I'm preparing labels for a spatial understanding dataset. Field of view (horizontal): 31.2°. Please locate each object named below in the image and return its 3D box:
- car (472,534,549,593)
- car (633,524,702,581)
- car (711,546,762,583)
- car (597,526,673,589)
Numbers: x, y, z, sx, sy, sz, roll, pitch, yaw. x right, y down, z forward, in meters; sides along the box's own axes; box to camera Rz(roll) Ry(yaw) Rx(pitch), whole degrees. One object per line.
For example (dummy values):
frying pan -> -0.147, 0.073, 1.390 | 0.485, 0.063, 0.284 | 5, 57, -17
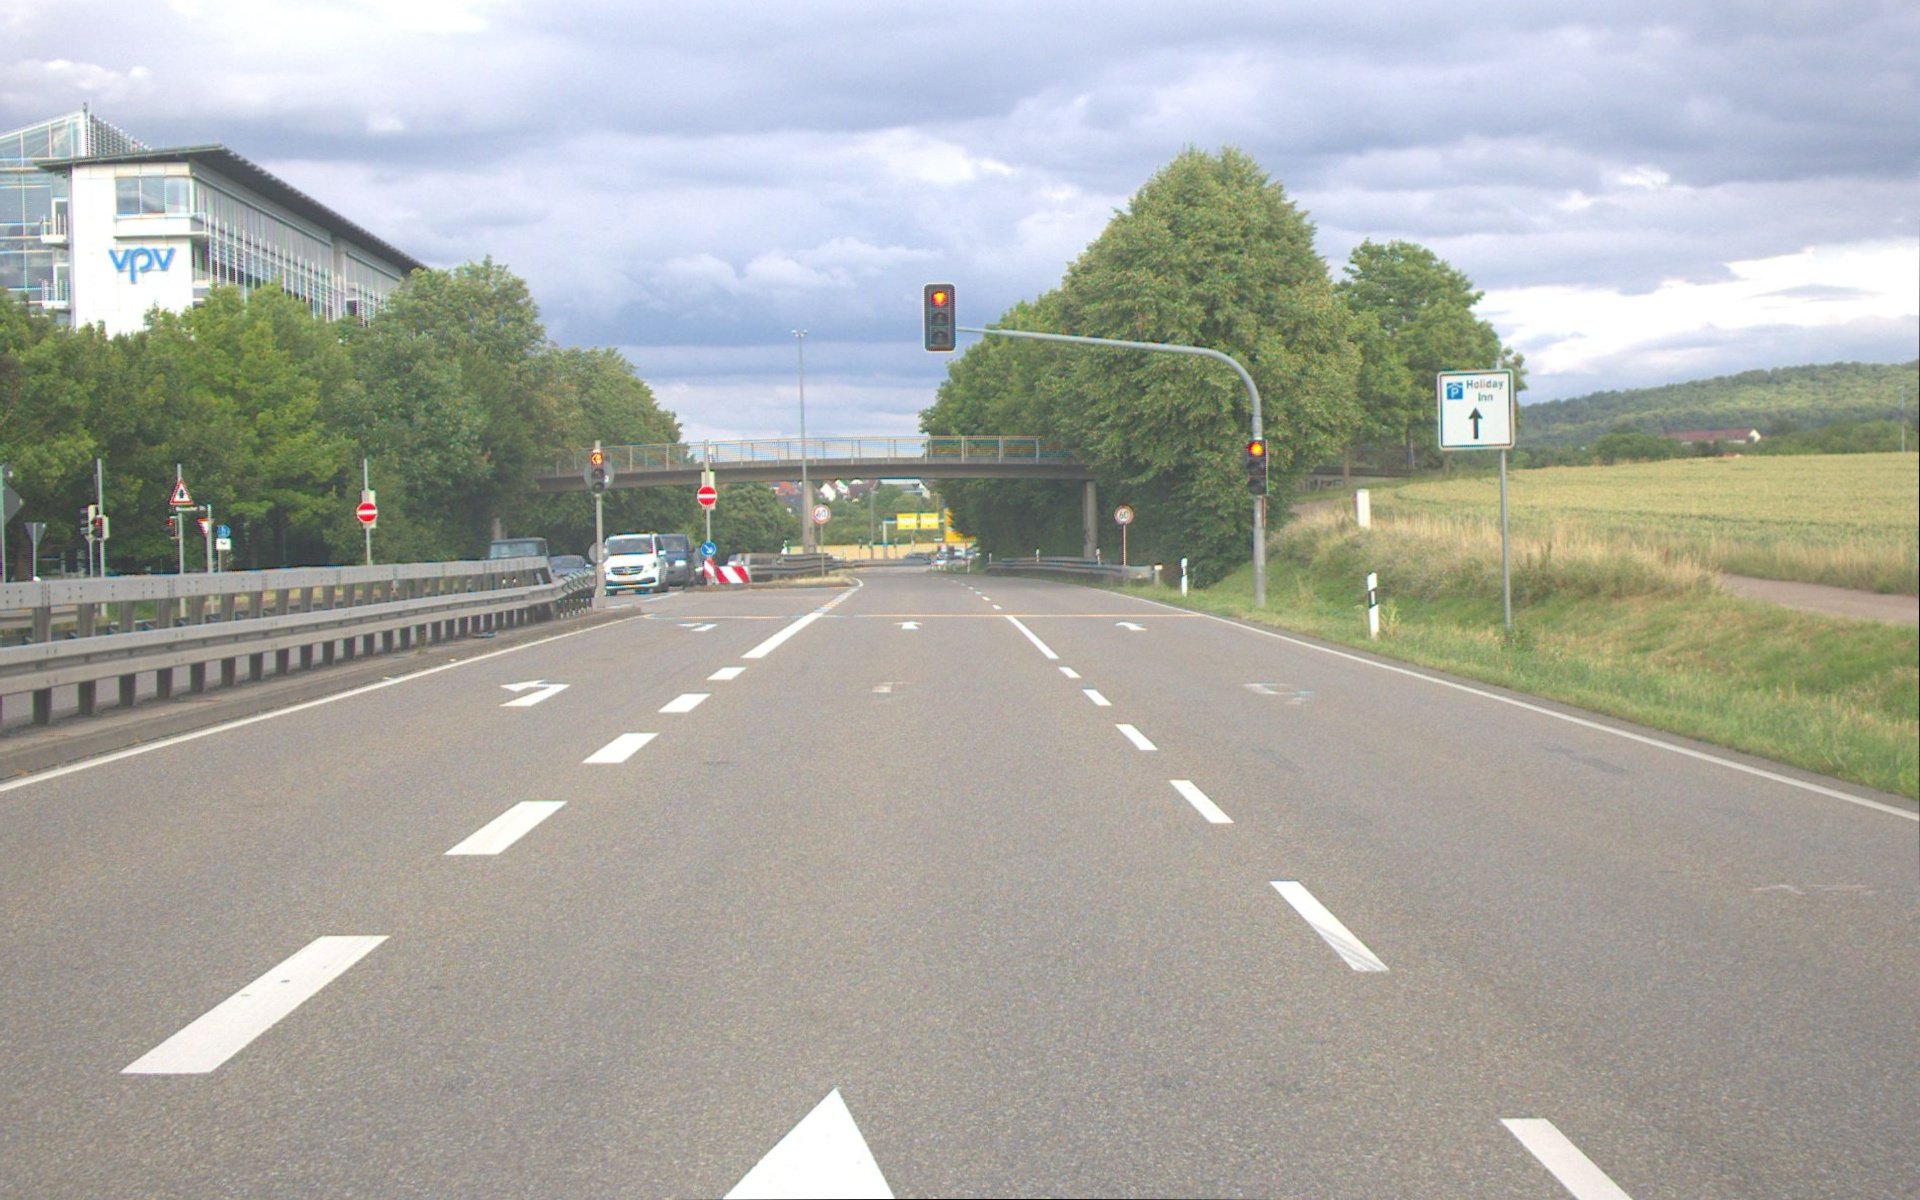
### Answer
car -> -14.077, -1.171, 107.809 | 1.868, 1.748, 4.049 | -1, 2, 0
car -> -9.994, -1.636, 117.765 | 1.993, 1.867, 4.737 | -1, 2, 0
car -> -6.881, -1.106, 106.023 | 1.358, 1.088, 2.922 | -1, 2, 0
car -> -10.168, -1.357, 107.968 | 1.948, 1.867, 4.737 | -1, 2, 0
